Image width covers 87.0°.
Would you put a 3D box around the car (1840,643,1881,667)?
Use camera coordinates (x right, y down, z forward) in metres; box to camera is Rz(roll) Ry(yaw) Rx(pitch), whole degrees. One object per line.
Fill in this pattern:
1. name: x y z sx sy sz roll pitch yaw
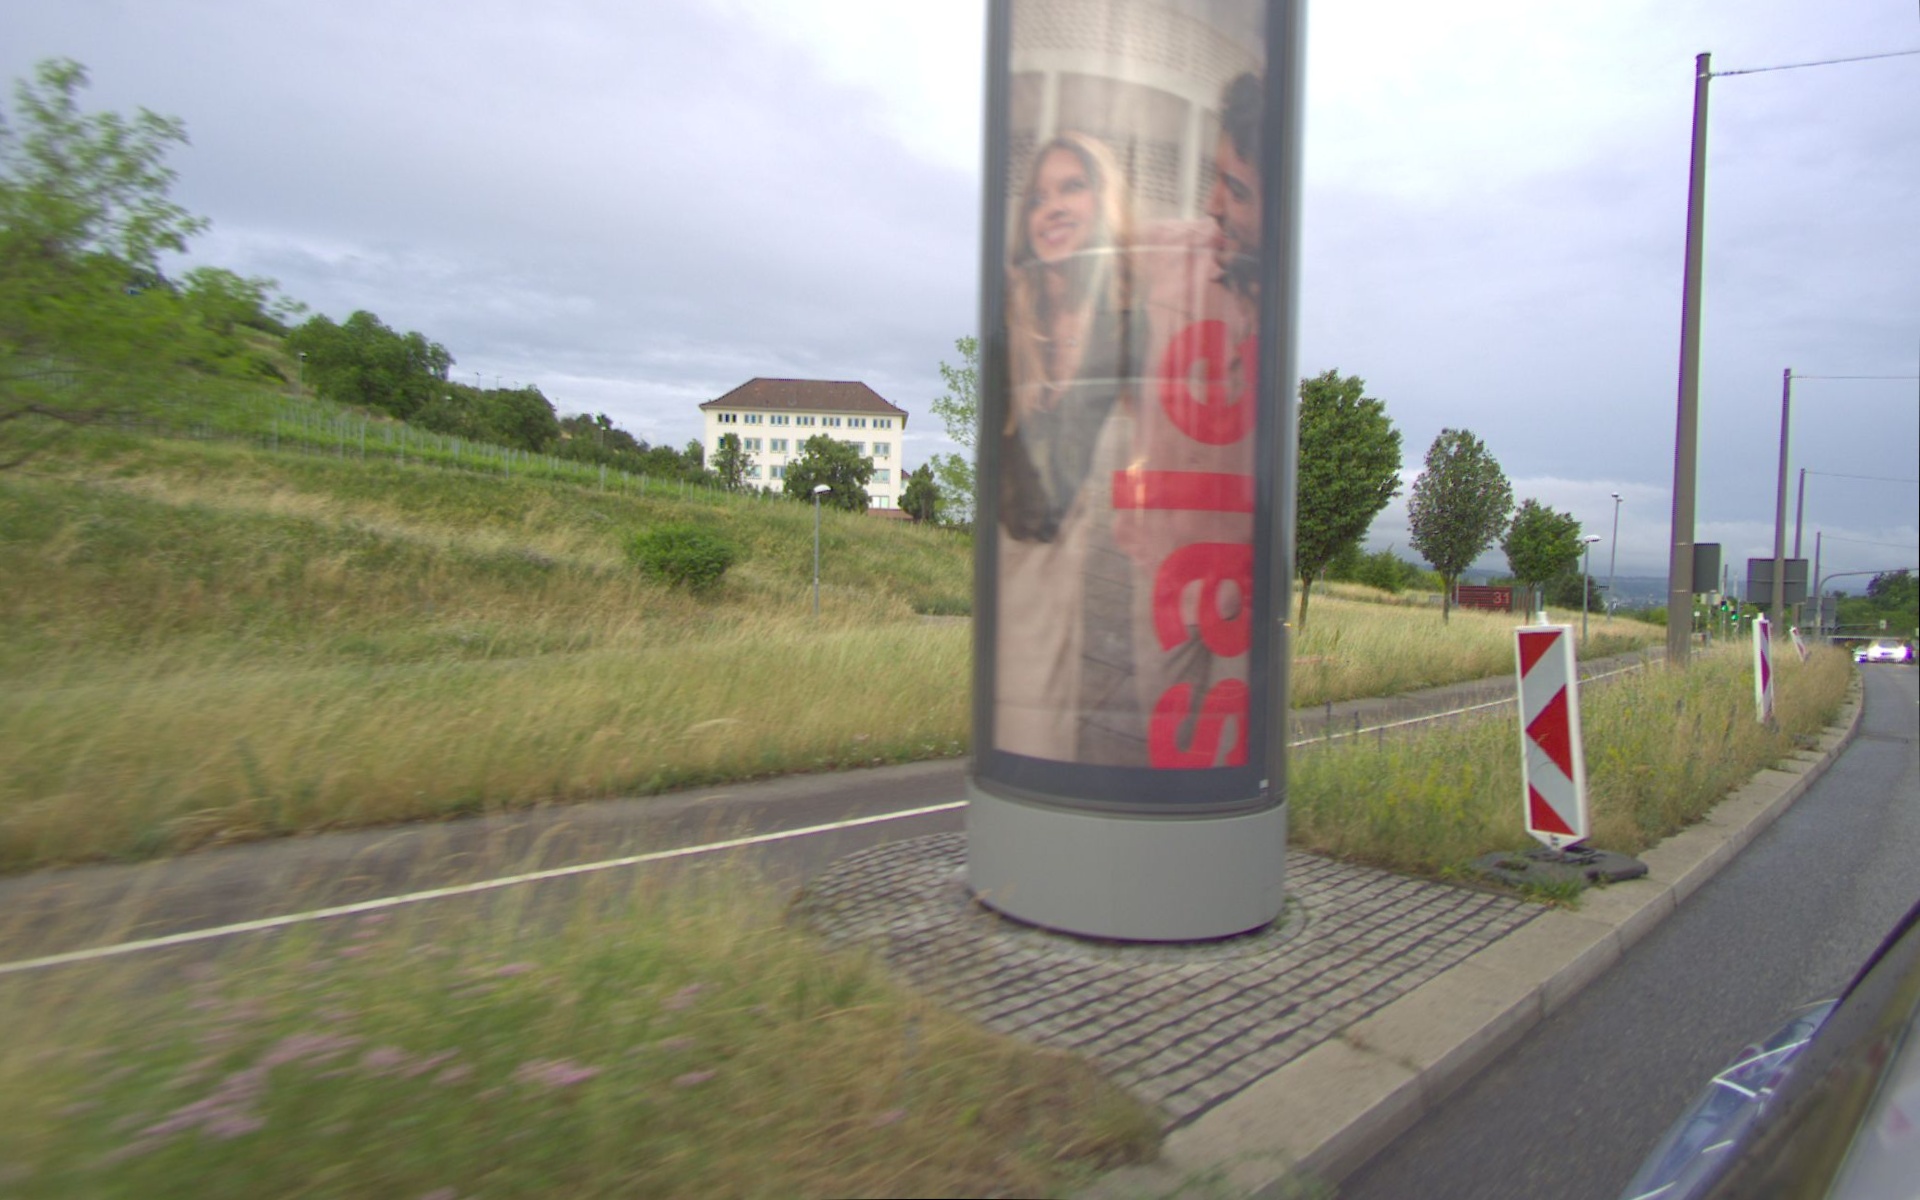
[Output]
1. car: 66.351 4.078 74.539 4.551 1.664 1.994 4 -3 -45

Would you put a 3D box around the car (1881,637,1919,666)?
1. car: 57.966 3.194 62.125 4.155 1.541 1.724 5 -1 -43
